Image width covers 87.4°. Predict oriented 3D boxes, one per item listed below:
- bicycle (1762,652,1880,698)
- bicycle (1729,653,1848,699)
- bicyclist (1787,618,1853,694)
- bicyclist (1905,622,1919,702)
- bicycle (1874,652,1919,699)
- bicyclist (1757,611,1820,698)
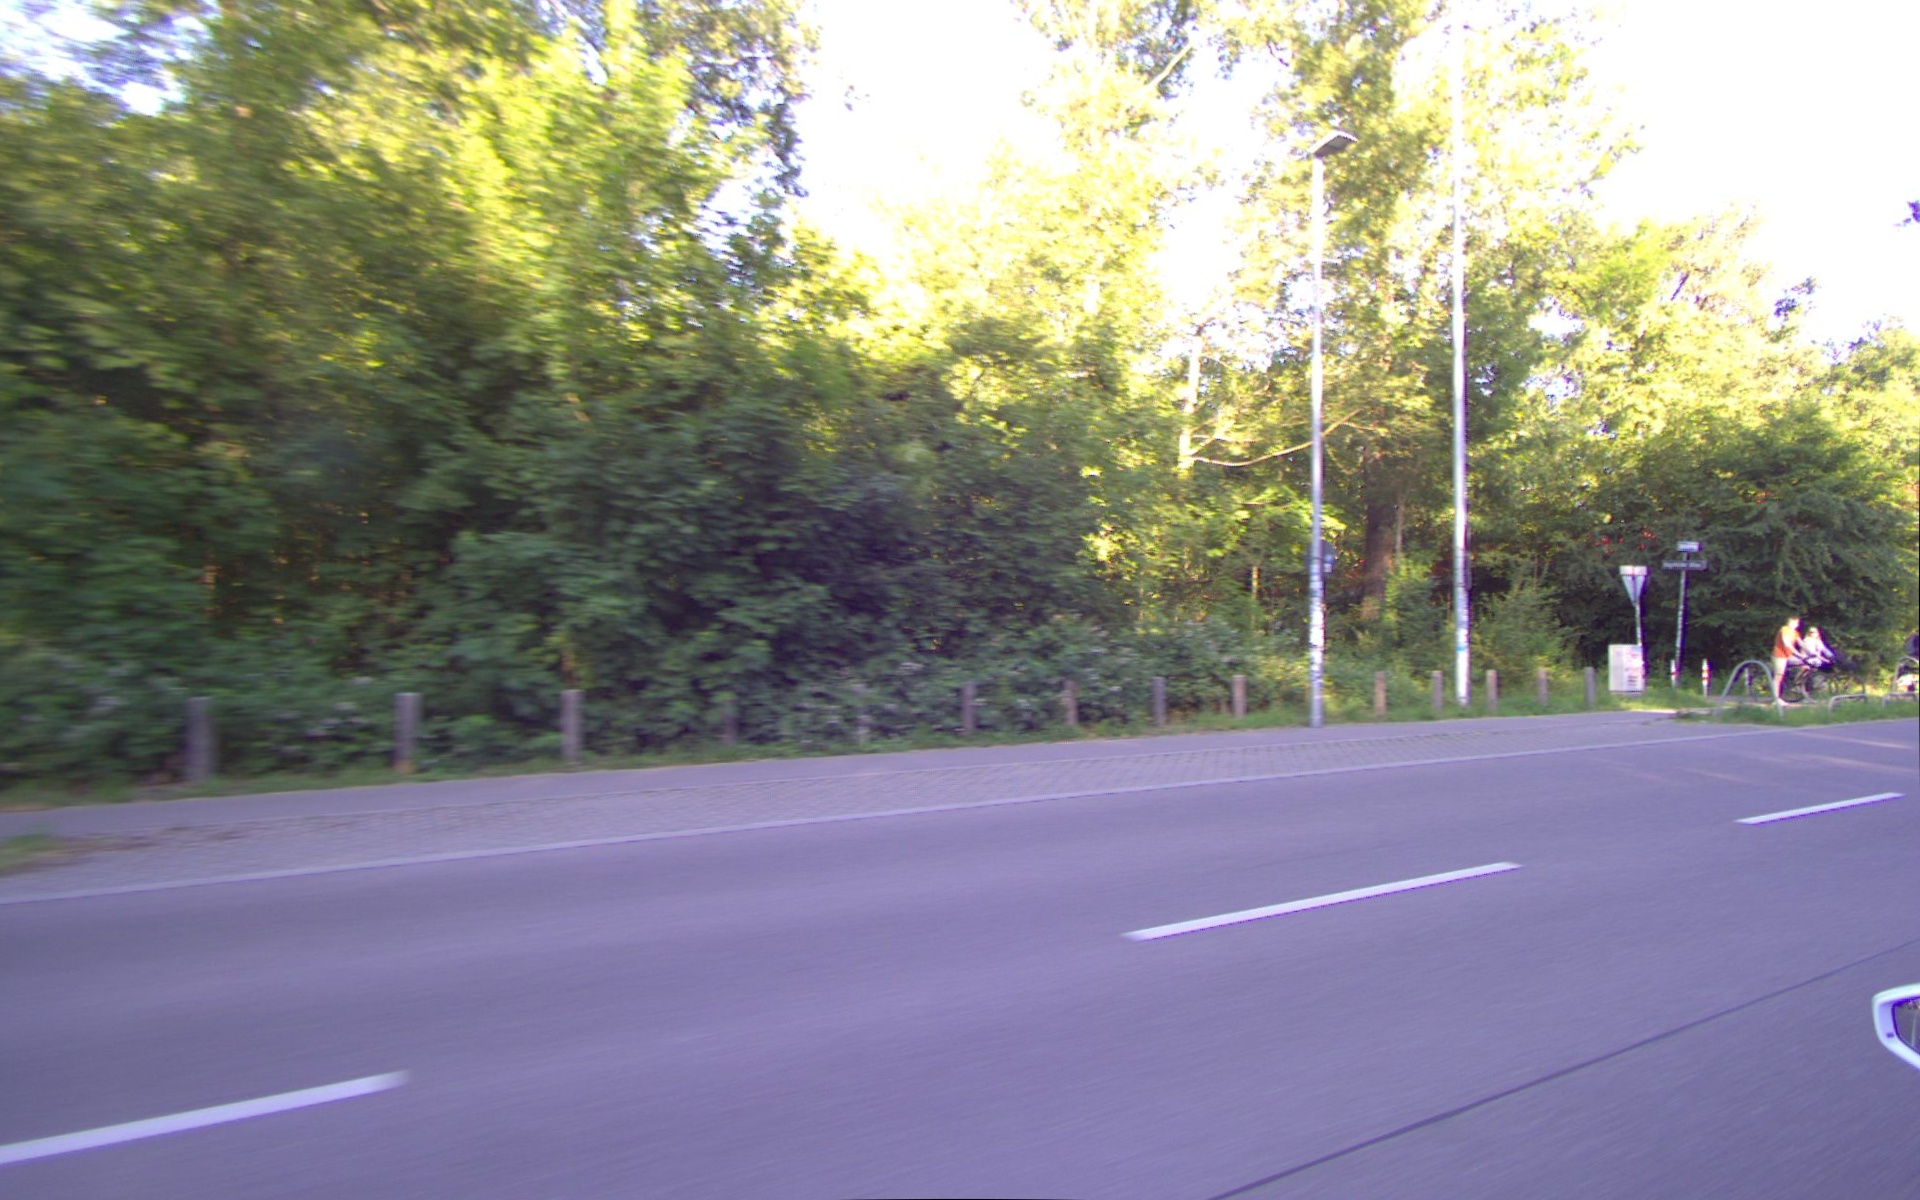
[{"bbox_3d":[19.814,1.703,23.160,0.812,0.947,1.925,1,-1,-19],"label":"bicycle"},{"bbox_3d":[18.687,1.697,22.713,0.812,0.947,1.925,1,-2,-19],"label":"bicycle"},{"bbox_3d":[19.812,1.272,23.143,0.931,1.719,0.794,1,-1,-20],"label":"bicyclist"},{"bbox_3d":[20.419,1.288,20.925,0.828,1.665,0.794,1,-1,-20],"label":"bicyclist"},{"bbox_3d":[20.418,1.589,20.904,0.812,0.947,1.925,1,-1,-19],"label":"bicycle"},{"bbox_3d":[18.712,1.214,22.688,0.804,1.926,0.794,1,-1,-19],"label":"bicyclist"}]
